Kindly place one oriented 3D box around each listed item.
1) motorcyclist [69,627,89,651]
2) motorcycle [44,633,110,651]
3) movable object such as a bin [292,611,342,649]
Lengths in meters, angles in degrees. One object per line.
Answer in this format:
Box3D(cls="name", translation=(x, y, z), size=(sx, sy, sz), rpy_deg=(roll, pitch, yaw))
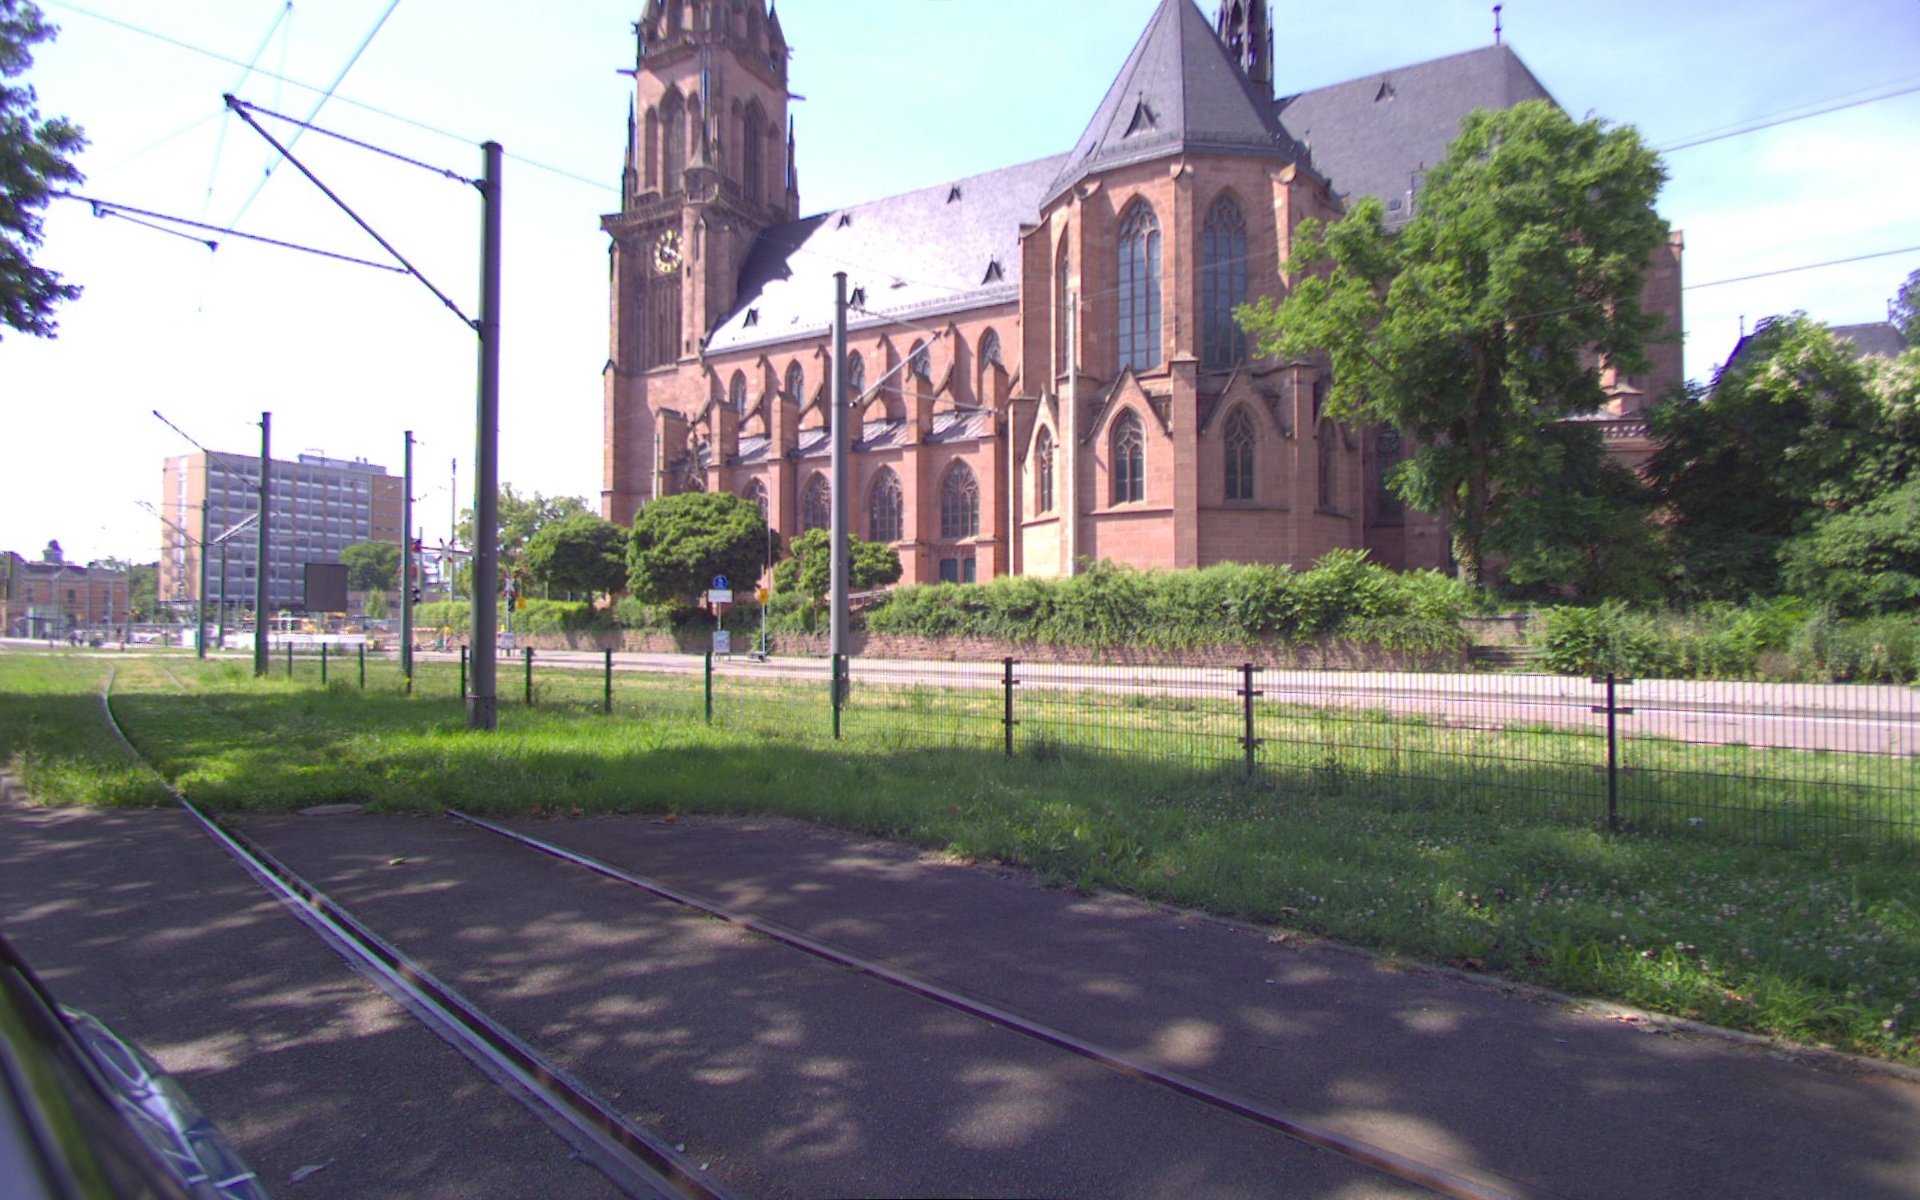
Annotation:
Box3D(cls="motorcyclist", translation=(-70.967, 3.152, 81.549), size=(1.090, 1.945, 1.336), rpy_deg=(1, -2, -37))
Box3D(cls="motorcycle", translation=(-71.019, 3.379, 81.468), size=(3.873, 1.349, 1.248), rpy_deg=(1, -2, -37))
Box3D(cls="movable object such as a bin", translation=(-67.131, 3.125, 105.767), size=(2.904, 3.911, 3.327), rpy_deg=(0, -2, 8))
